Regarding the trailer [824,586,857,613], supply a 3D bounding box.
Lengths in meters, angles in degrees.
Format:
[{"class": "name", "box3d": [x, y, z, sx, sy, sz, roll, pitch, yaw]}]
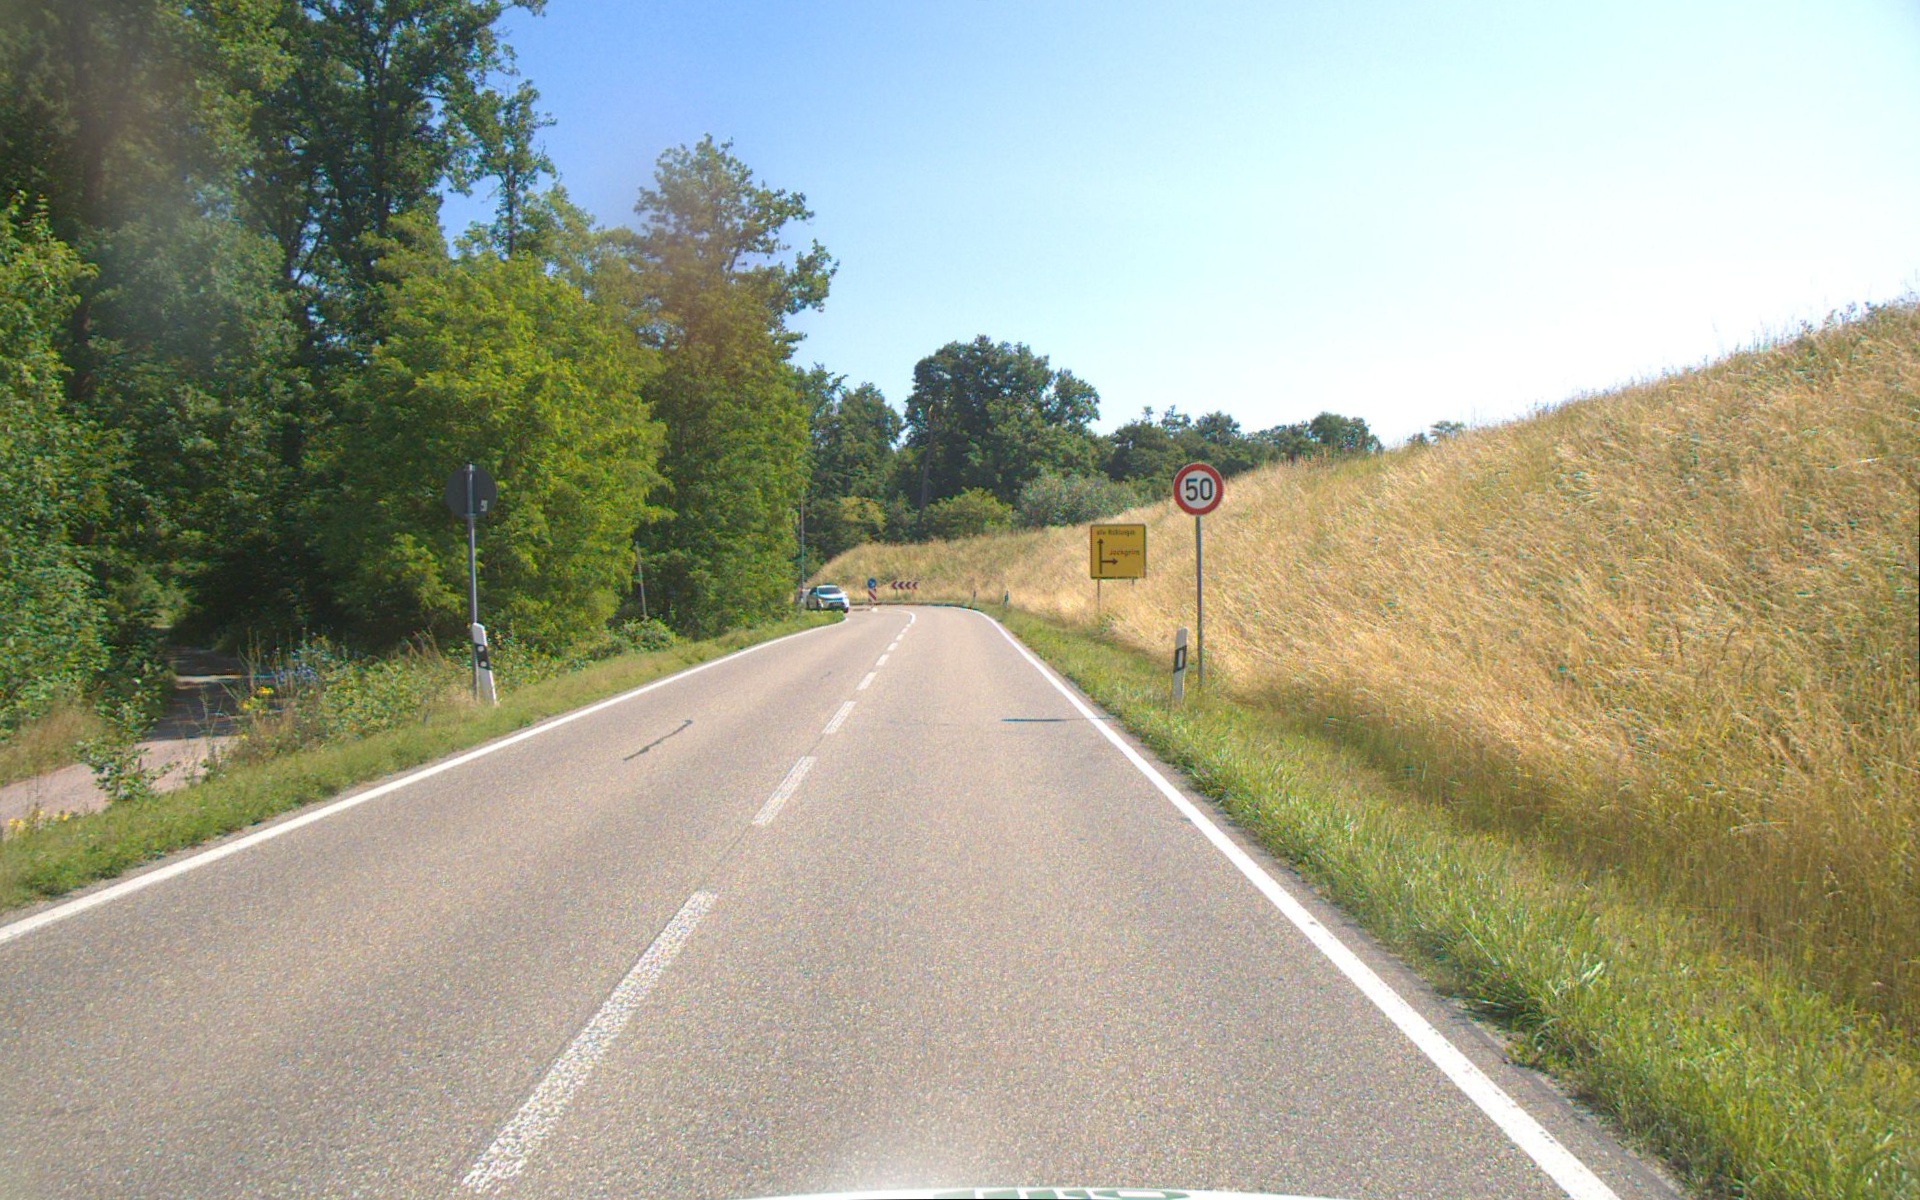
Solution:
[{"class": "trailer", "box3d": [-7.102, -0.023, 98.676, 1.527, 1.466, 3.270, -4, 1, 3]}]

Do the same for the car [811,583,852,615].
[{"class": "car", "box3d": [-7.358, -0.086, 95.015, 1.772, 1.705, 4.002, -4, 1, 3]}]
